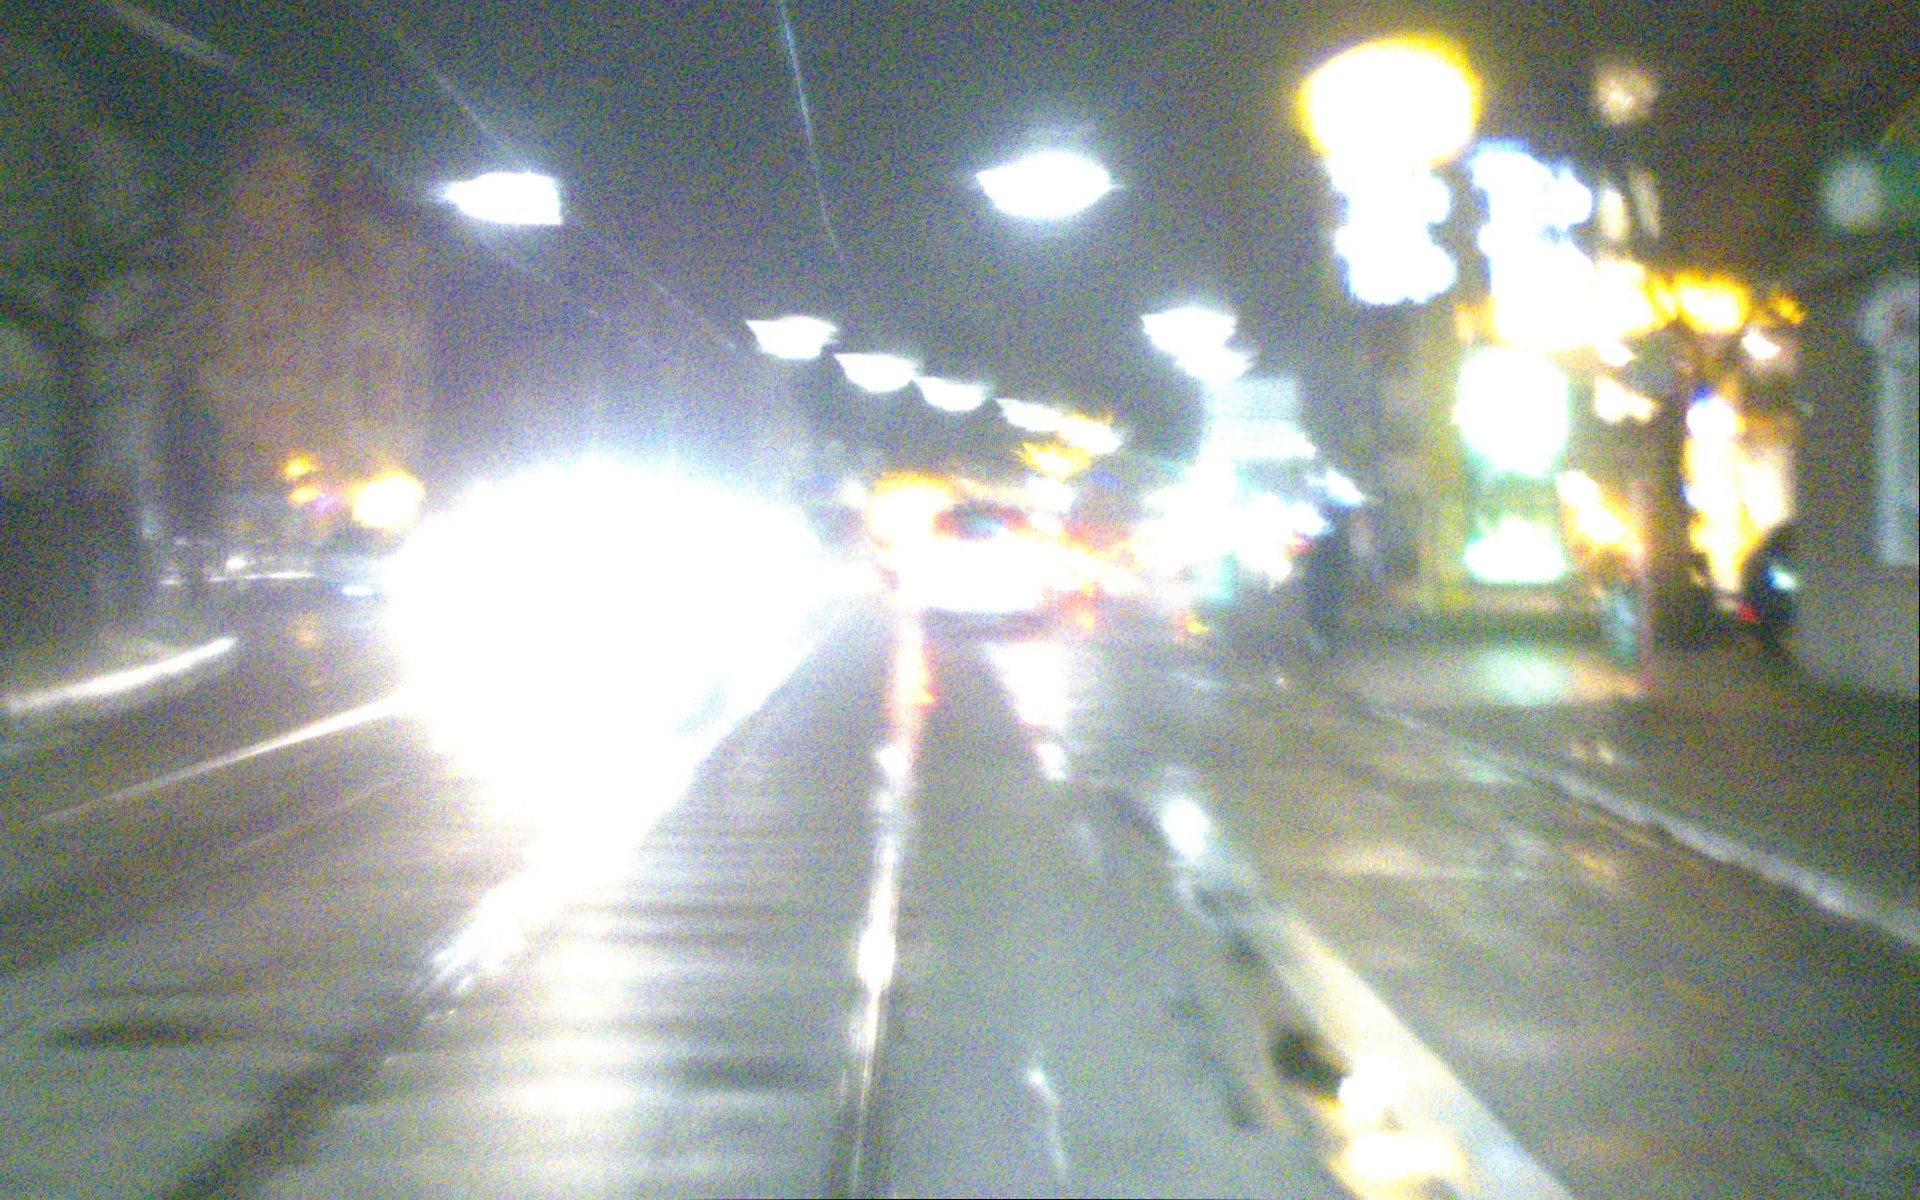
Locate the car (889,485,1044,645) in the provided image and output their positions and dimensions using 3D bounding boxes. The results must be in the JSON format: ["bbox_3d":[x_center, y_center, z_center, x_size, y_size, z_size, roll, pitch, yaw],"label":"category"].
[{"bbox_3d":[0.058,-0.554,53.079,2.244,2.353,4.394,0,1,-2],"label":"car"}]

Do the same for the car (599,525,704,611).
[{"bbox_3d":[-7.153,-0.768,80.221,2.319,1.925,4.964,0,1,-4],"label":"car"}]

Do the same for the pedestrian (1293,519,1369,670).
[{"bbox_3d":[4.401,-0.073,40.776,0.778,1.770,0.693,0,1,17],"label":"pedestrian"}]

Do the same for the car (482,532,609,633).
[{"bbox_3d":[-7.265,-0.328,60.620,1.993,1.718,4.077,0,1,-4],"label":"car"}]

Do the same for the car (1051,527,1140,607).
[{"bbox_3d":[3.152,-0.791,80.511,2.016,1.809,4.000,0,1,2],"label":"car"}]

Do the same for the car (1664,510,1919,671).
[{"bbox_3d":[9.670,-0.138,38.506,2.028,1.694,4.114,0,1,35],"label":"car"}]

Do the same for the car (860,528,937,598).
[{"bbox_3d":[-1.648,-1.000,91.188,1.993,1.809,4.000,0,1,-1],"label":"car"}]

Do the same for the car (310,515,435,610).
[{"bbox_3d":[-12.793,-0.834,75.075,1.993,2.007,4.000,0,1,0],"label":"car"}]

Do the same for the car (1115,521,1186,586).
[{"bbox_3d":[6.073,-1.494,110.013,1.993,2.007,4.000,0,1,-1],"label":"car"}]
